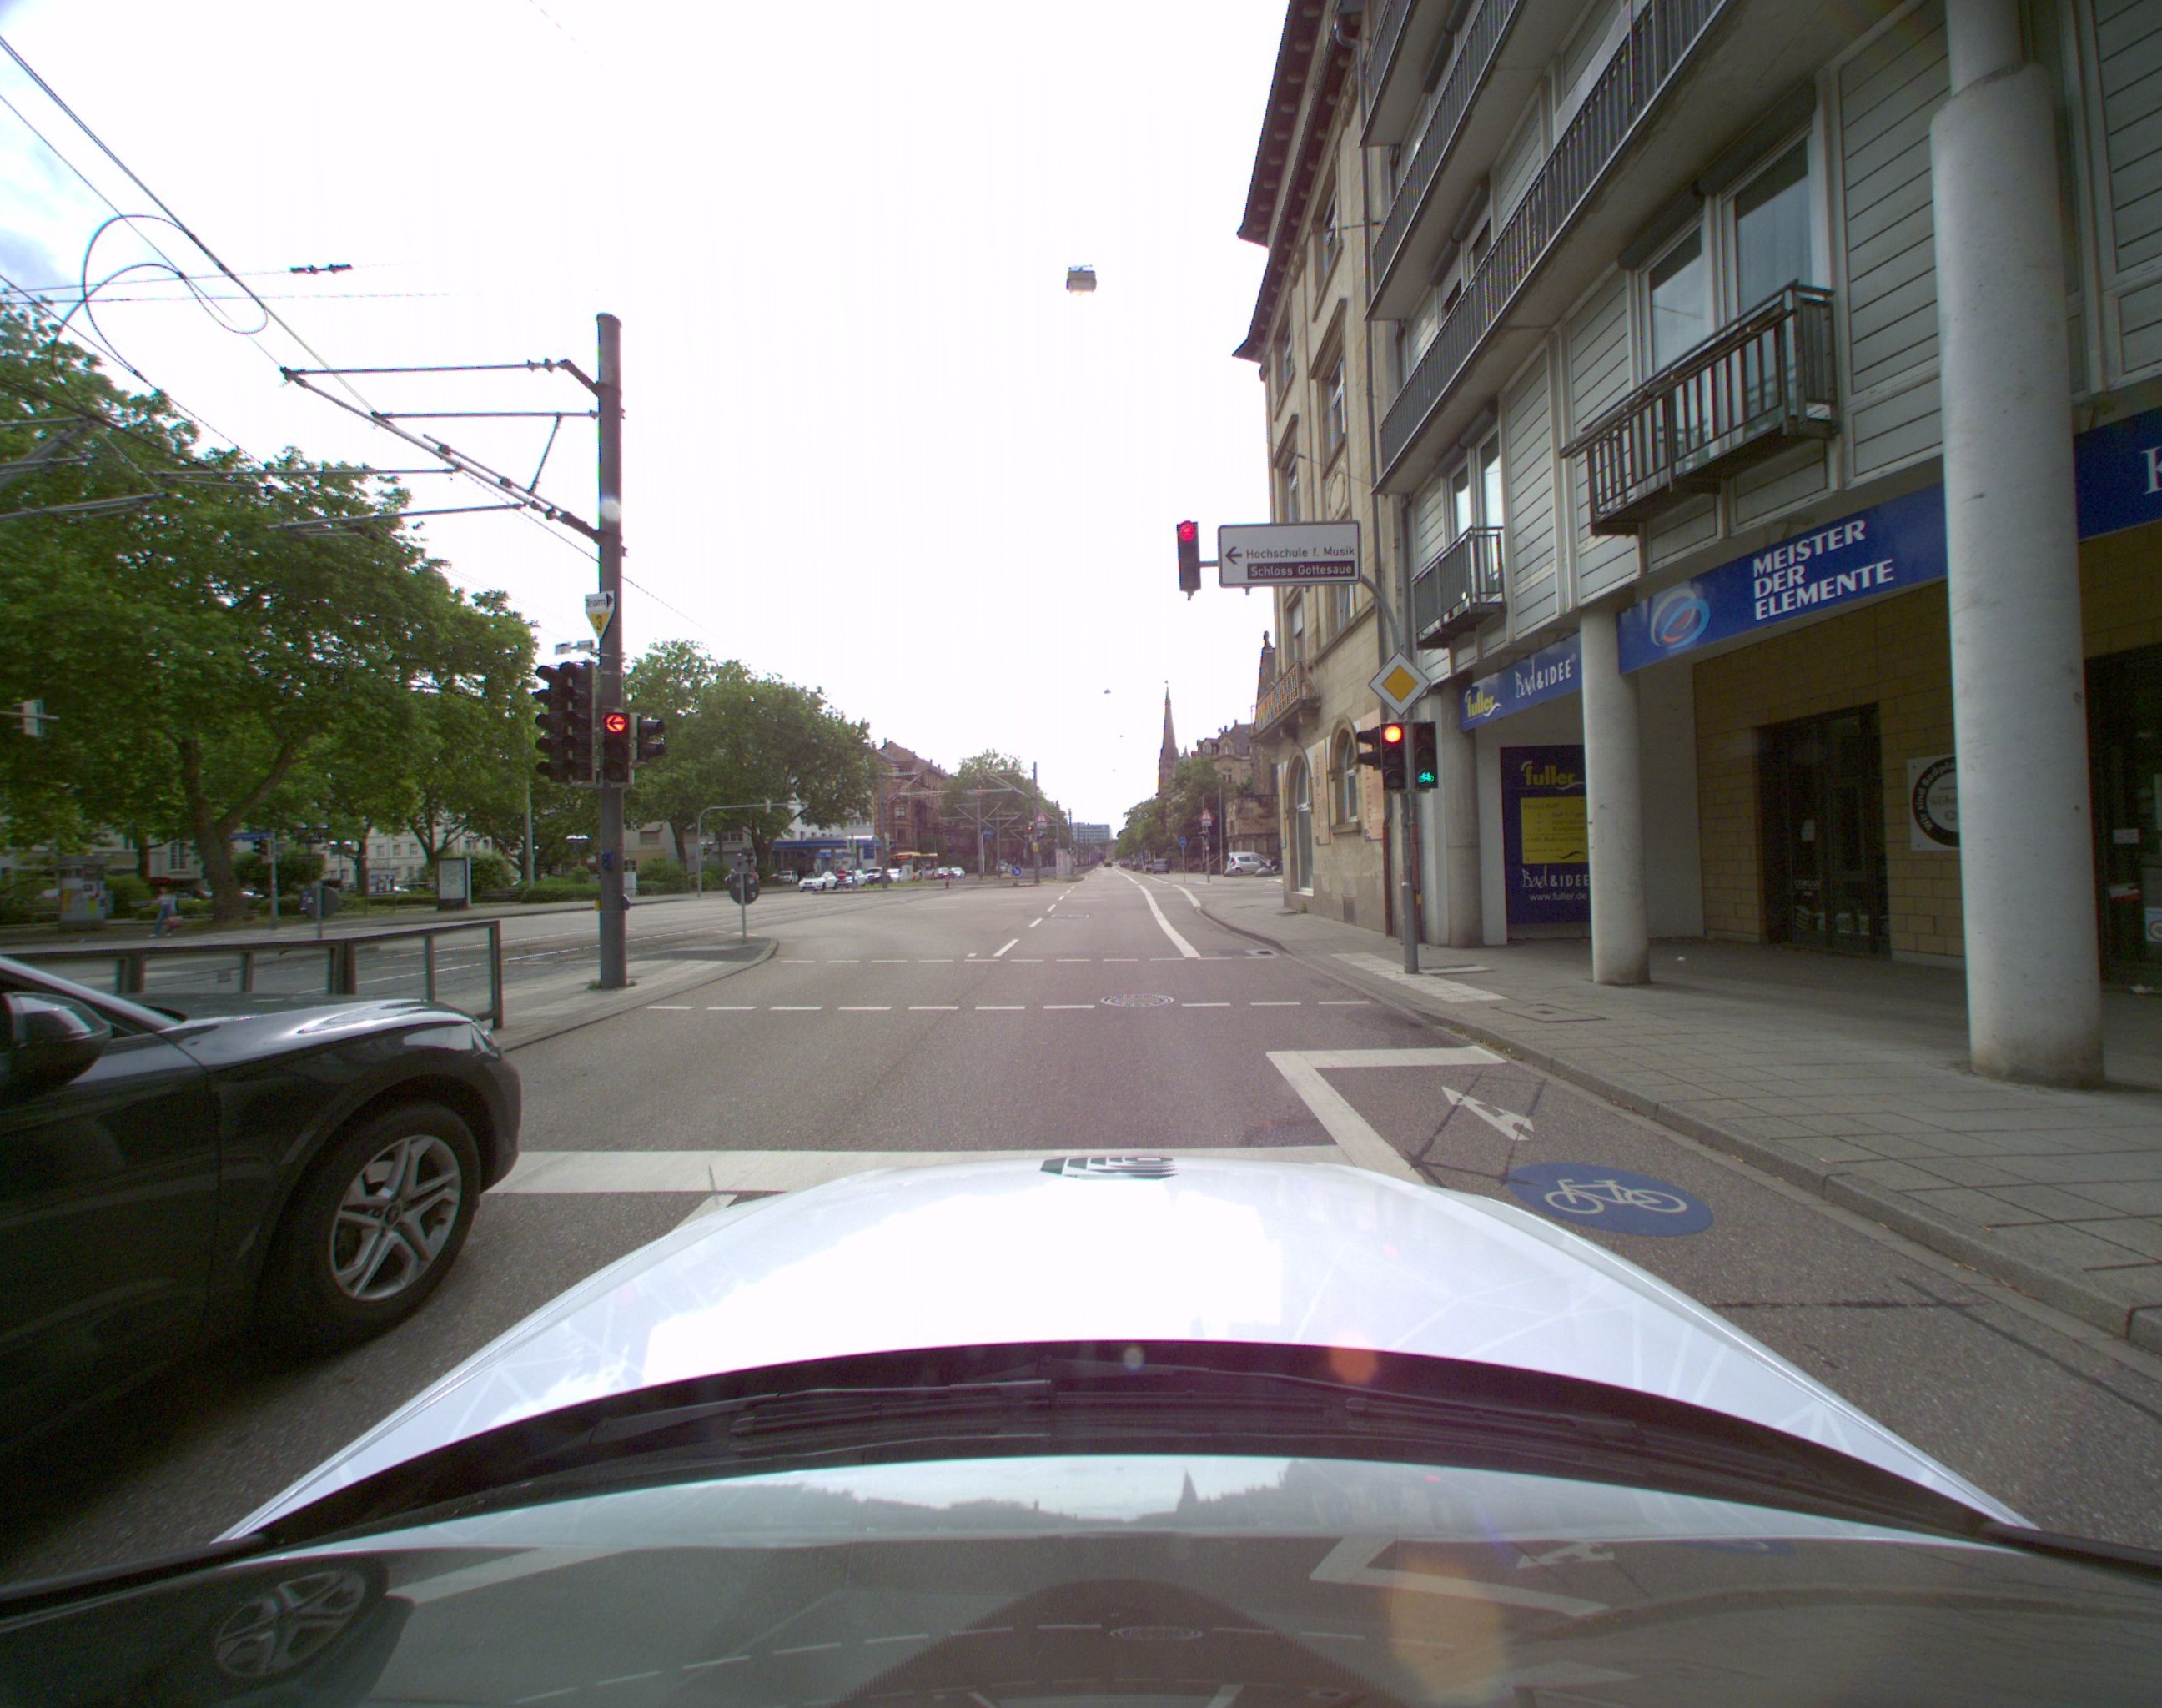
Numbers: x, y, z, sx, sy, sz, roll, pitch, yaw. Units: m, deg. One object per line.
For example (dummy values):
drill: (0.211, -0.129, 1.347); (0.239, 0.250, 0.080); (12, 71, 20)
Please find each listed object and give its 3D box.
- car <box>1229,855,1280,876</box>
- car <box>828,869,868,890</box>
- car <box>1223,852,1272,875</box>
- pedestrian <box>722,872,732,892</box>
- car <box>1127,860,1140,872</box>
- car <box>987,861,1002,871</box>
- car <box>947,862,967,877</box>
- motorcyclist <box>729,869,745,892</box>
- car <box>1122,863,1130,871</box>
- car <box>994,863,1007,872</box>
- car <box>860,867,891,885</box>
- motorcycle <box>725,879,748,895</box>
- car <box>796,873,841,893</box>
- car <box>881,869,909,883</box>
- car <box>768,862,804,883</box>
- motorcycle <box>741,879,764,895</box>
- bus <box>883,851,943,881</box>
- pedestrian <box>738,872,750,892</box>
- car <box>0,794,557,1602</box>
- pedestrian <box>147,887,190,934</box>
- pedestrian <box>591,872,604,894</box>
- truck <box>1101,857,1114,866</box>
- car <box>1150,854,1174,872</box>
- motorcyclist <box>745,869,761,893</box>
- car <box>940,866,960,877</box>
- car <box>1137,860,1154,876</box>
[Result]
car: (13.756, 0.900, 64.782); (3.699, 1.563, 2.001); (0, -1, 2)
car: (-18.837, 2.065, 66.071); (1.986, 1.594, 4.001); (0, -1, 2)
car: (13.933, 0.782, 68.227); (3.699, 1.855, 2.001); (0, -1, 2)
pedestrian: (-26.344, 2.088, 60.624); (0.474, 1.459, 0.426); (-2, -1, 1)
car: (8.711, 2.046, 136.104); (1.986, 2.014, 4.001); (0, -1, 2)
car: (-15.034, 2.066, 142.086); (1.986, 1.610, 4.001); (0, -1, 2)
car: (-16.736, 2.067, 110.183); (1.986, 2.014, 4.001); (0, -1, 2)
motorcyclist: (-22.846, 1.755, 54.143); (0.617, 1.520, 0.874); (-2, -1, 2)
car: (11.943, 3.357, 216.777); (1.986, 2.014, 4.001); (0, -1, 2)
car: (-14.773, 2.447, 149.895); (1.986, 1.610, 4.001); (0, -1, 2)
car: (-18.322, 1.938, 72.714); (1.649, 1.478, 3.641); (0, -1, 3)
motorcycle: (-22.853, 2.186, 53.989); (0.604, 0.928, 1.953); (-2, -1, 2)
car: (-19.158, 2.086, 59.549); (1.739, 1.321, 4.079); (0, 0, 4)
car: (-18.149, 2.108, 79.635); (1.649, 1.321, 3.641); (0, -1, 3)
car: (-29.747, 1.815, 82.190); (1.986, 2.014, 4.001); (-2, 0, 2)
motorcycle: (-21.505, 2.155, 53.377); (0.604, 0.928, 1.953); (-2, -1, 2)
bus: (-18.289, 1.307, 89.712); (3.217, 3.035, 12.323); (0, 0, 4)
pedestrian: (-25.198, 2.086, 60.874); (0.645, 1.479, 0.557); (-2, -1, 1)
car: (-3.073, 0.699, 1.221); (1.727, 1.637, 4.228); (0, -1, 2)
pedestrian: (-30.431, 1.884, 27.163); (0.656, 1.510, 0.680); (-1, -1, -15)
pedestrian: (-38.179, 2.274, 64.342); (0.596, 1.700, 0.615); (-2, -1, 30)
truck: (8.307, 2.411, 254.718); (3.040, 2.769, 9.832); (-2, 0, 6)
car: (8.984, 0.982, 89.942); (1.979, 1.855, 4.042); (-1, -1, 14)
motorcyclist: (-21.495, 1.740, 53.401); (0.617, 1.520, 0.874); (-2, -1, 2)
car: (-16.513, 2.197, 102.829); (1.649, 1.321, 3.641); (0, -1, 3)
car: (7.905, 1.692, 99.632); (1.985, 2.014, 4.004); (0, -1, 4)
